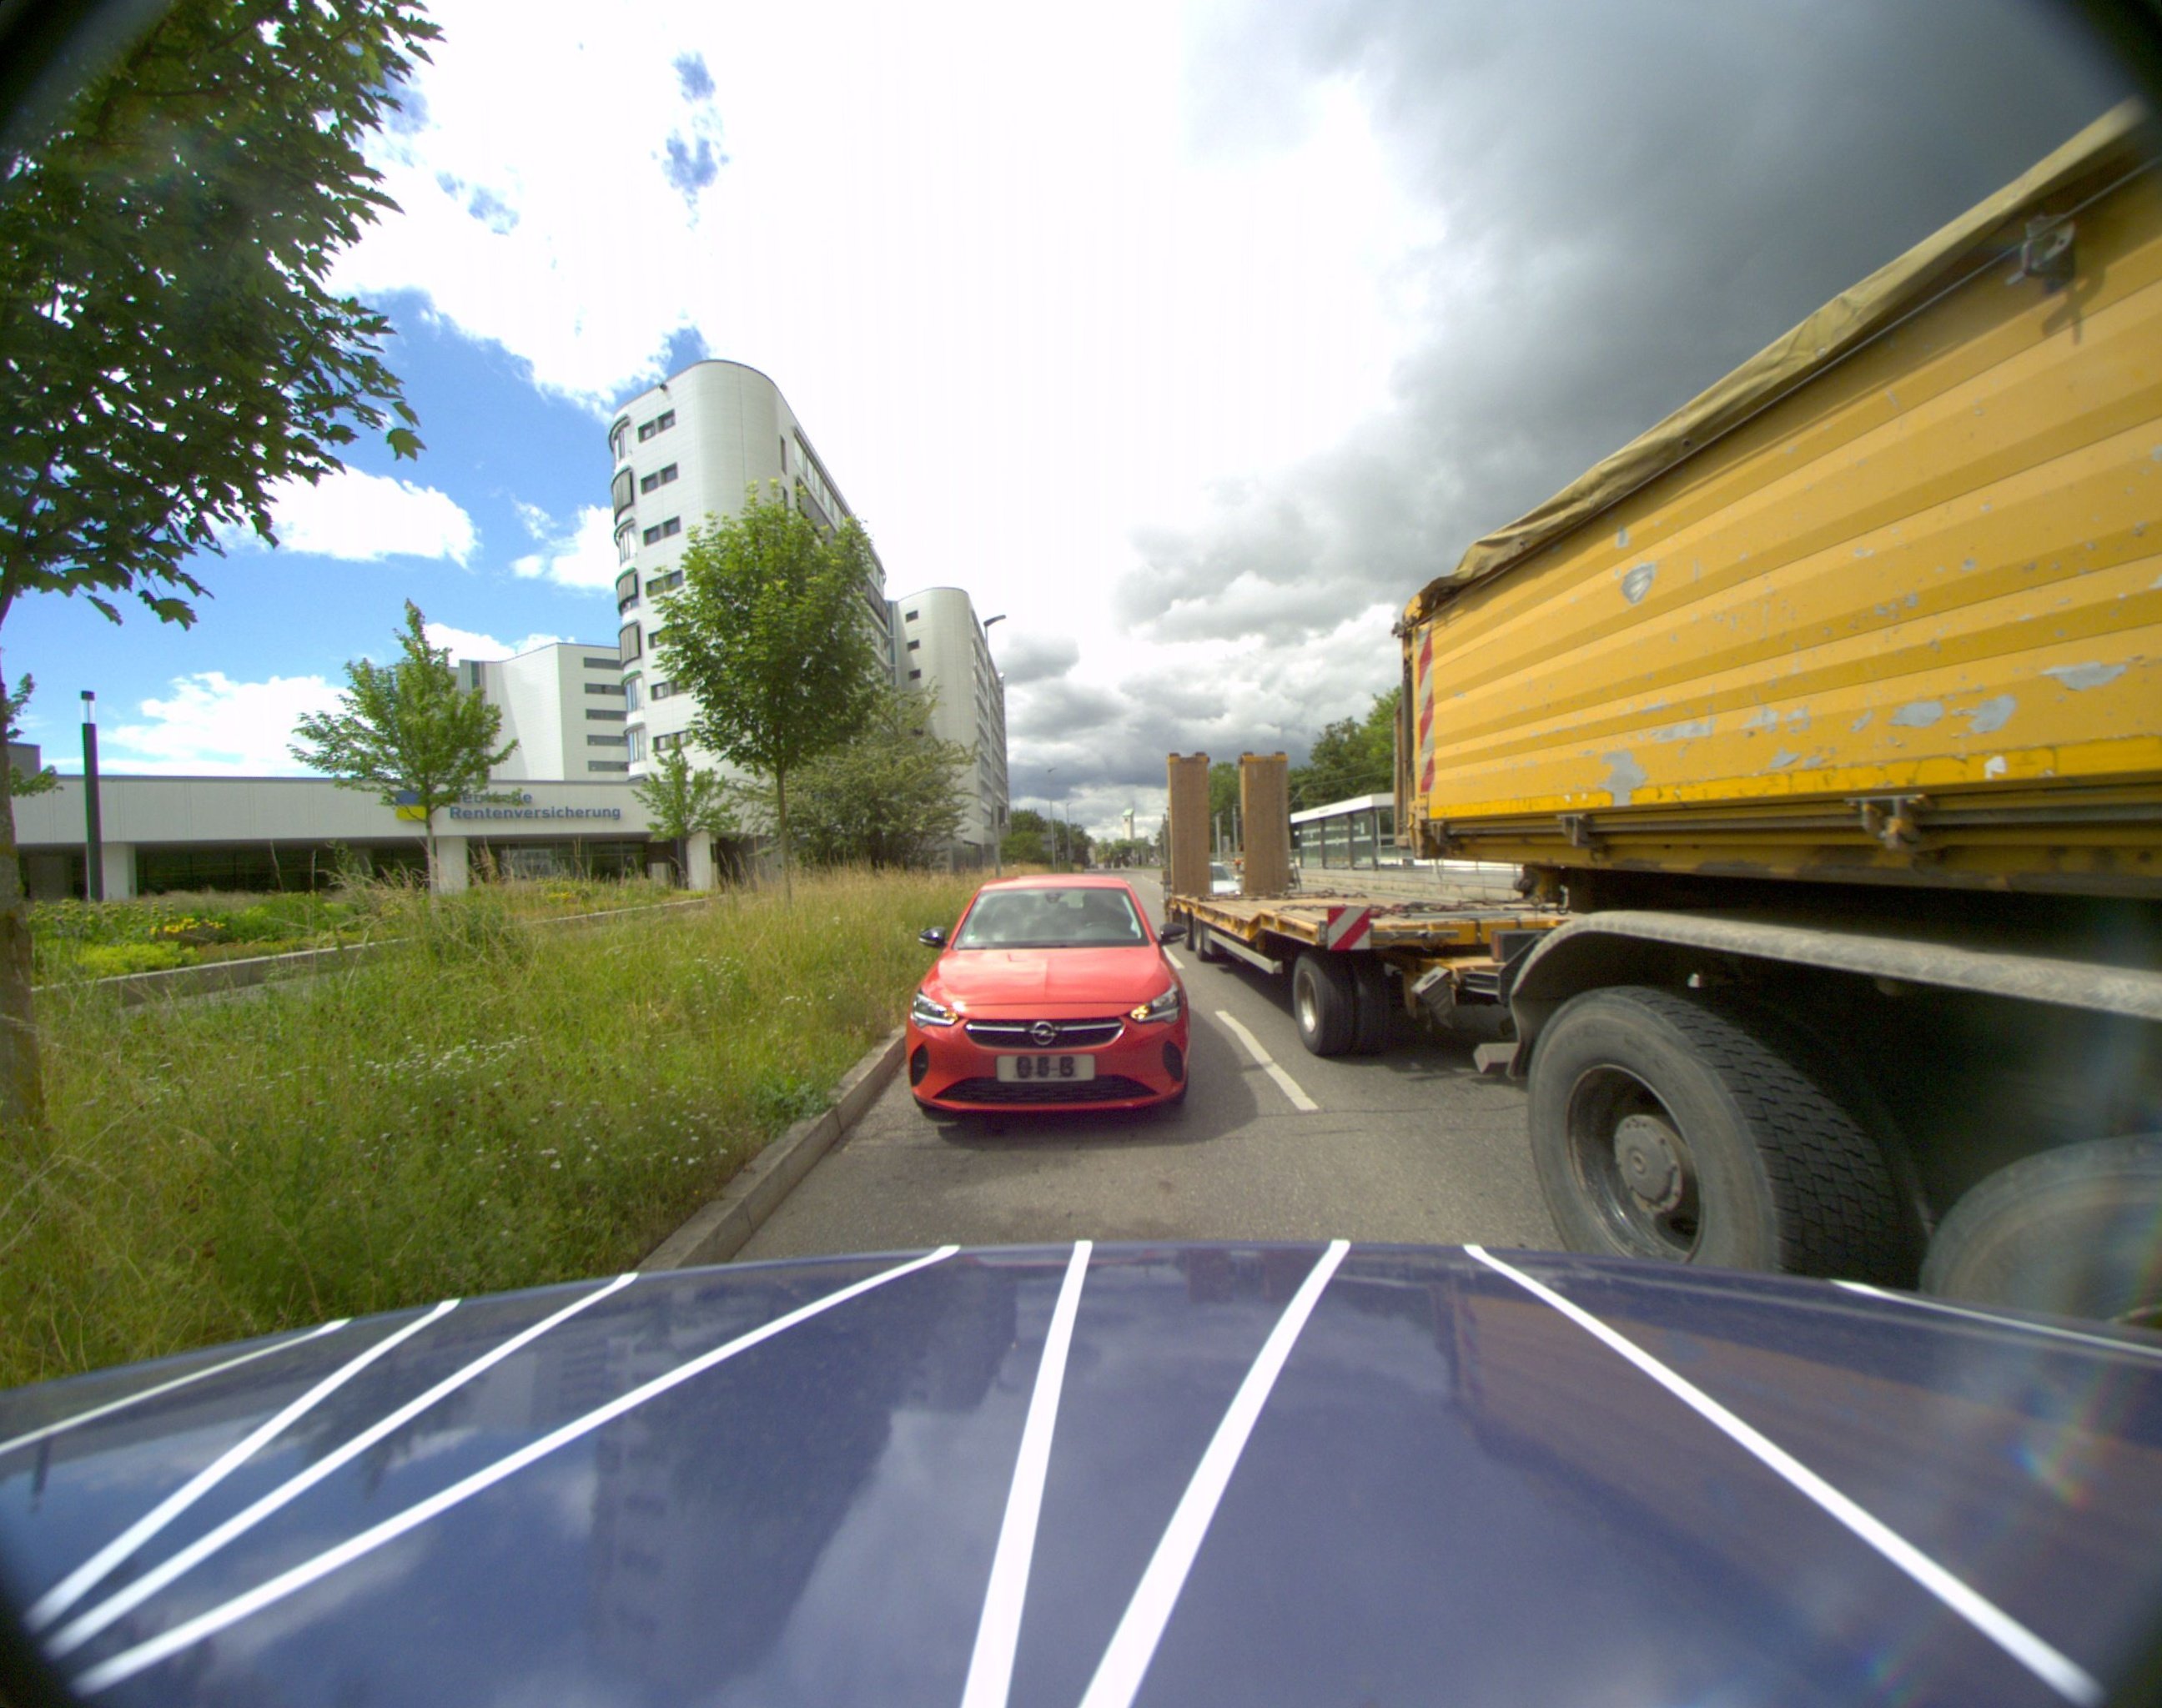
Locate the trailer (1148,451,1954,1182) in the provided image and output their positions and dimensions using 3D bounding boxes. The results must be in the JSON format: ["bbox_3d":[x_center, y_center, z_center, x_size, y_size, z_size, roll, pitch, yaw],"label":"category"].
[{"bbox_3d":[2.933,-0.170,9.416,3.057,3.676,10.965,-2,0,0],"label":"trailer"}]

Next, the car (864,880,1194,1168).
[{"bbox_3d":[-0.249,0.975,5.903,1.749,1.408,3.676,-1,0,1],"label":"car"}]

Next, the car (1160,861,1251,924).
[{"bbox_3d":[3.148,0.923,19.892,1.784,1.408,3.785,-2,0,1],"label":"car"}]

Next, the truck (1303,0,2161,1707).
[{"bbox_3d":[2.808,-0.055,0.114,3.057,3.374,8.006,-2,0,0],"label":"truck"}]
